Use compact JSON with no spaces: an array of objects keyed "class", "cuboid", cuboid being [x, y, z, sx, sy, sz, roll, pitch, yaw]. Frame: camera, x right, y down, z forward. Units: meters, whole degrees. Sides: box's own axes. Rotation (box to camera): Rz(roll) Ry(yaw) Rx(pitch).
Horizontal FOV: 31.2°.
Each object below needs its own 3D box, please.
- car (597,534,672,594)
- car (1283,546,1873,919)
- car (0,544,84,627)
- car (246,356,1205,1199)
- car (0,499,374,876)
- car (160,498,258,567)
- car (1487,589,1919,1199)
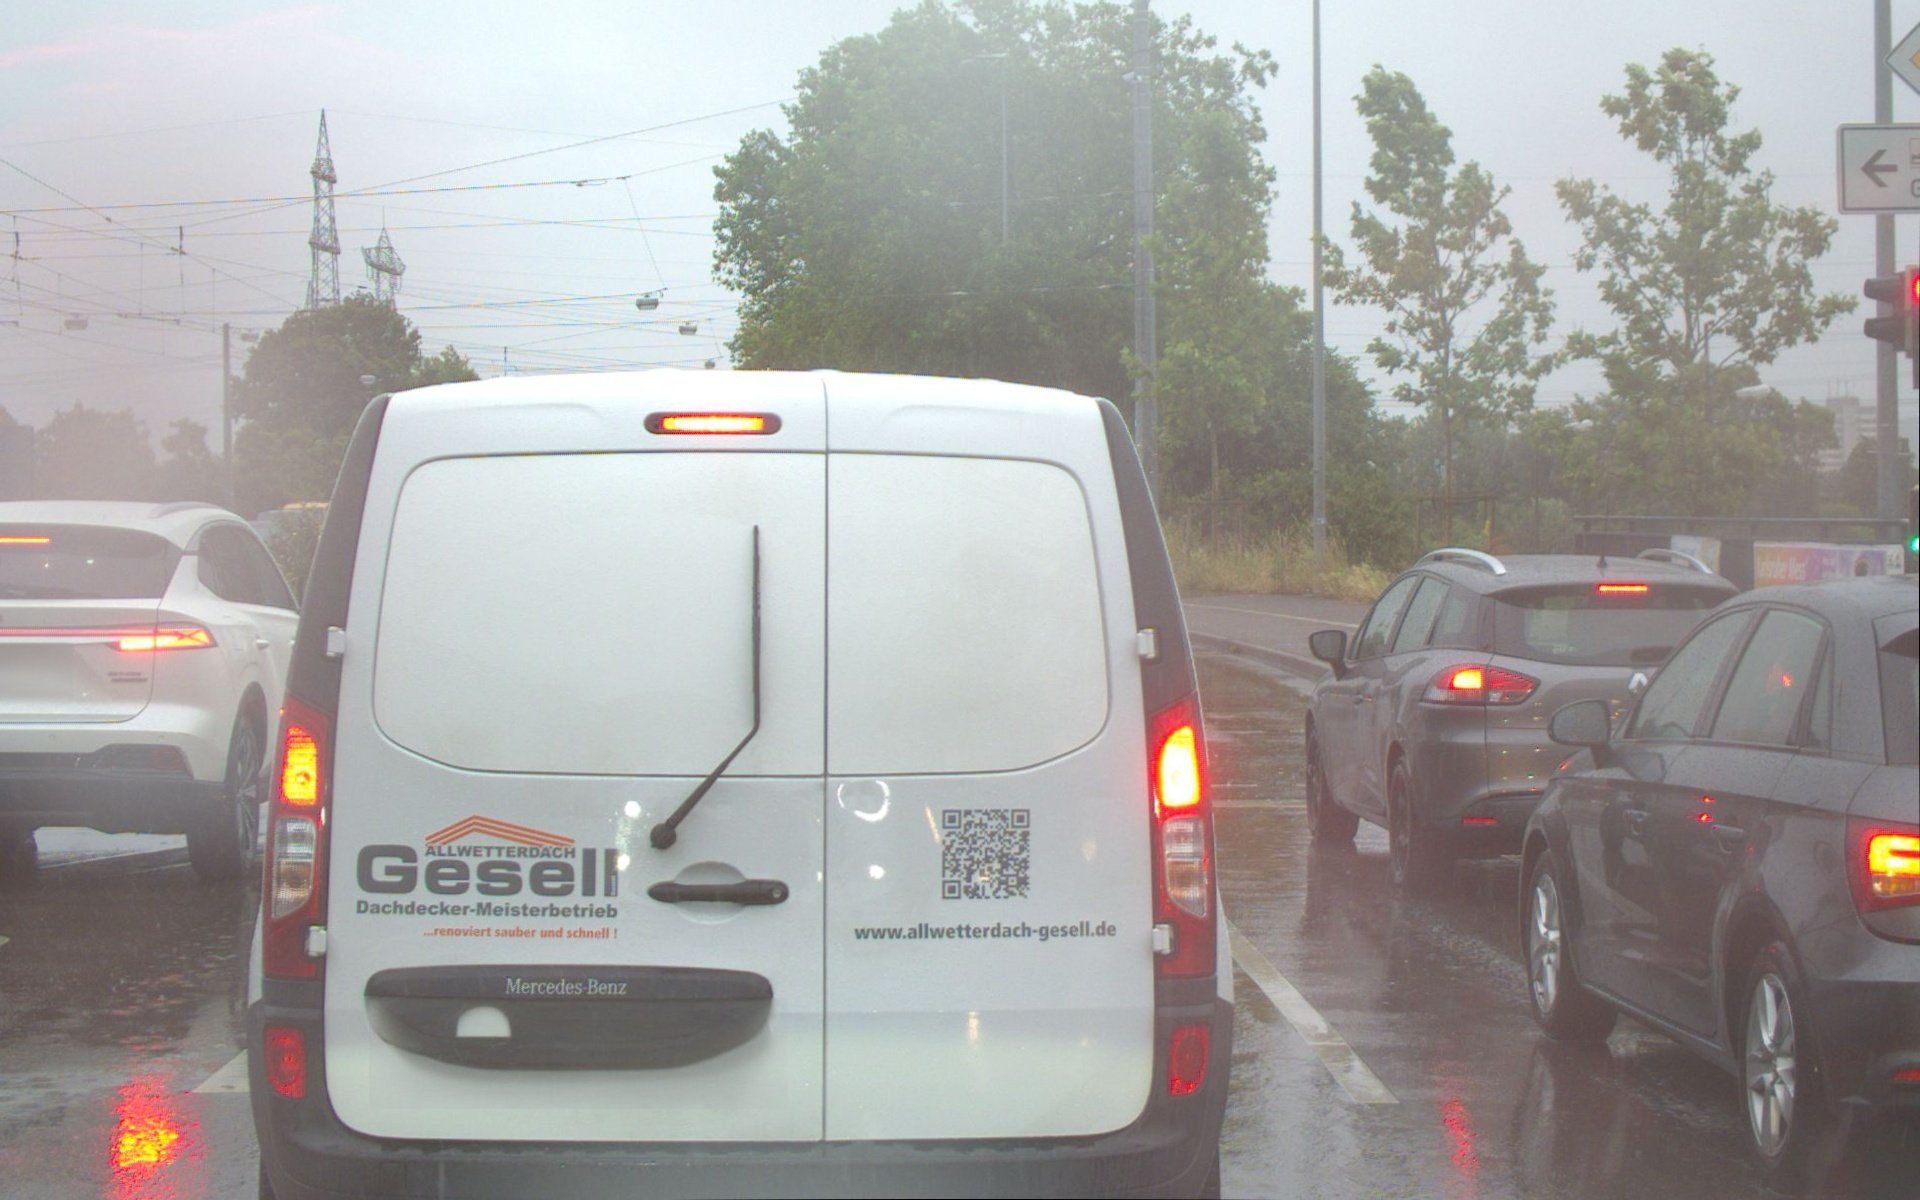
[{"class":"car","cuboid":[-8.438,-0.945,88.909,1.614,1.498,3.716,1,1,-10]},{"class":"car","cuboid":[2.631,0.497,15.537,1.859,1.424,3.808,1,1,-2]},{"class":"car","cuboid":[-21.337,-0.349,77.437,1.929,1.820,3.999,1,1,4]},{"class":"car","cuboid":[-0.406,0.469,7.637,1.566,1.782,4.000,0,1,-1]},{"class":"car","cuboid":[-3.938,0.298,16.179,1.728,1.530,4.298,1,1,-2]},{"class":"car","cuboid":[-22.695,-2.018,104.057,1.993,2.007,4.000,1,1,1]},{"class":"car","cuboid":[2.520,0.667,8.931,1.629,1.340,3.624,1,1,-2]}]
